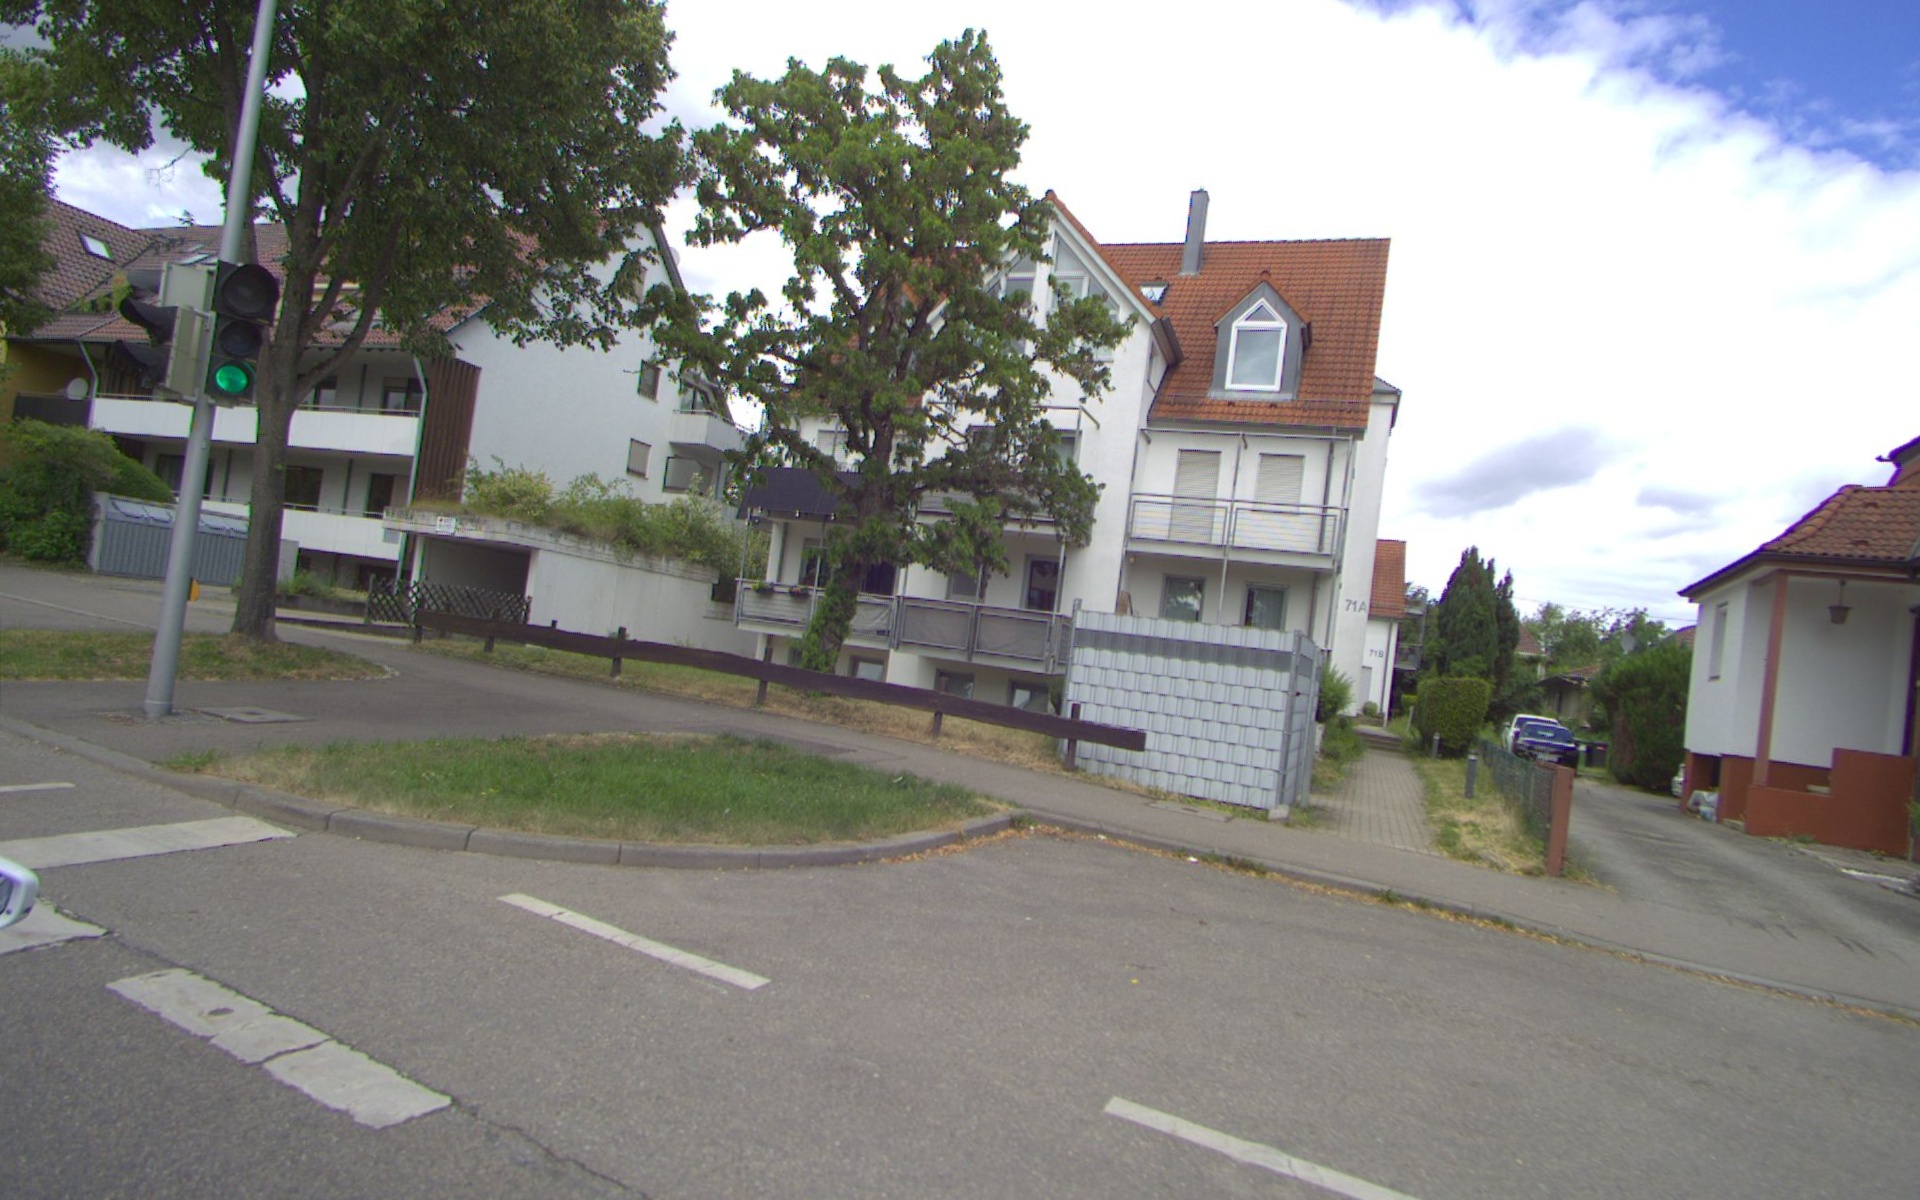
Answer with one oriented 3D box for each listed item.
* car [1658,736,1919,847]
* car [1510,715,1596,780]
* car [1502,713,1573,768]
[{"bbox_3d":[17.781,4.065,21.826,3.929,1.503,1.831,7,-2,25],"label":"car"},{"bbox_3d":[17.868,4.406,30.495,1.966,1.503,3.997,7,-2,29],"label":"car"},{"bbox_3d":[20.216,4.864,35.333,1.886,1.536,3.997,7,-2,29],"label":"car"}]
